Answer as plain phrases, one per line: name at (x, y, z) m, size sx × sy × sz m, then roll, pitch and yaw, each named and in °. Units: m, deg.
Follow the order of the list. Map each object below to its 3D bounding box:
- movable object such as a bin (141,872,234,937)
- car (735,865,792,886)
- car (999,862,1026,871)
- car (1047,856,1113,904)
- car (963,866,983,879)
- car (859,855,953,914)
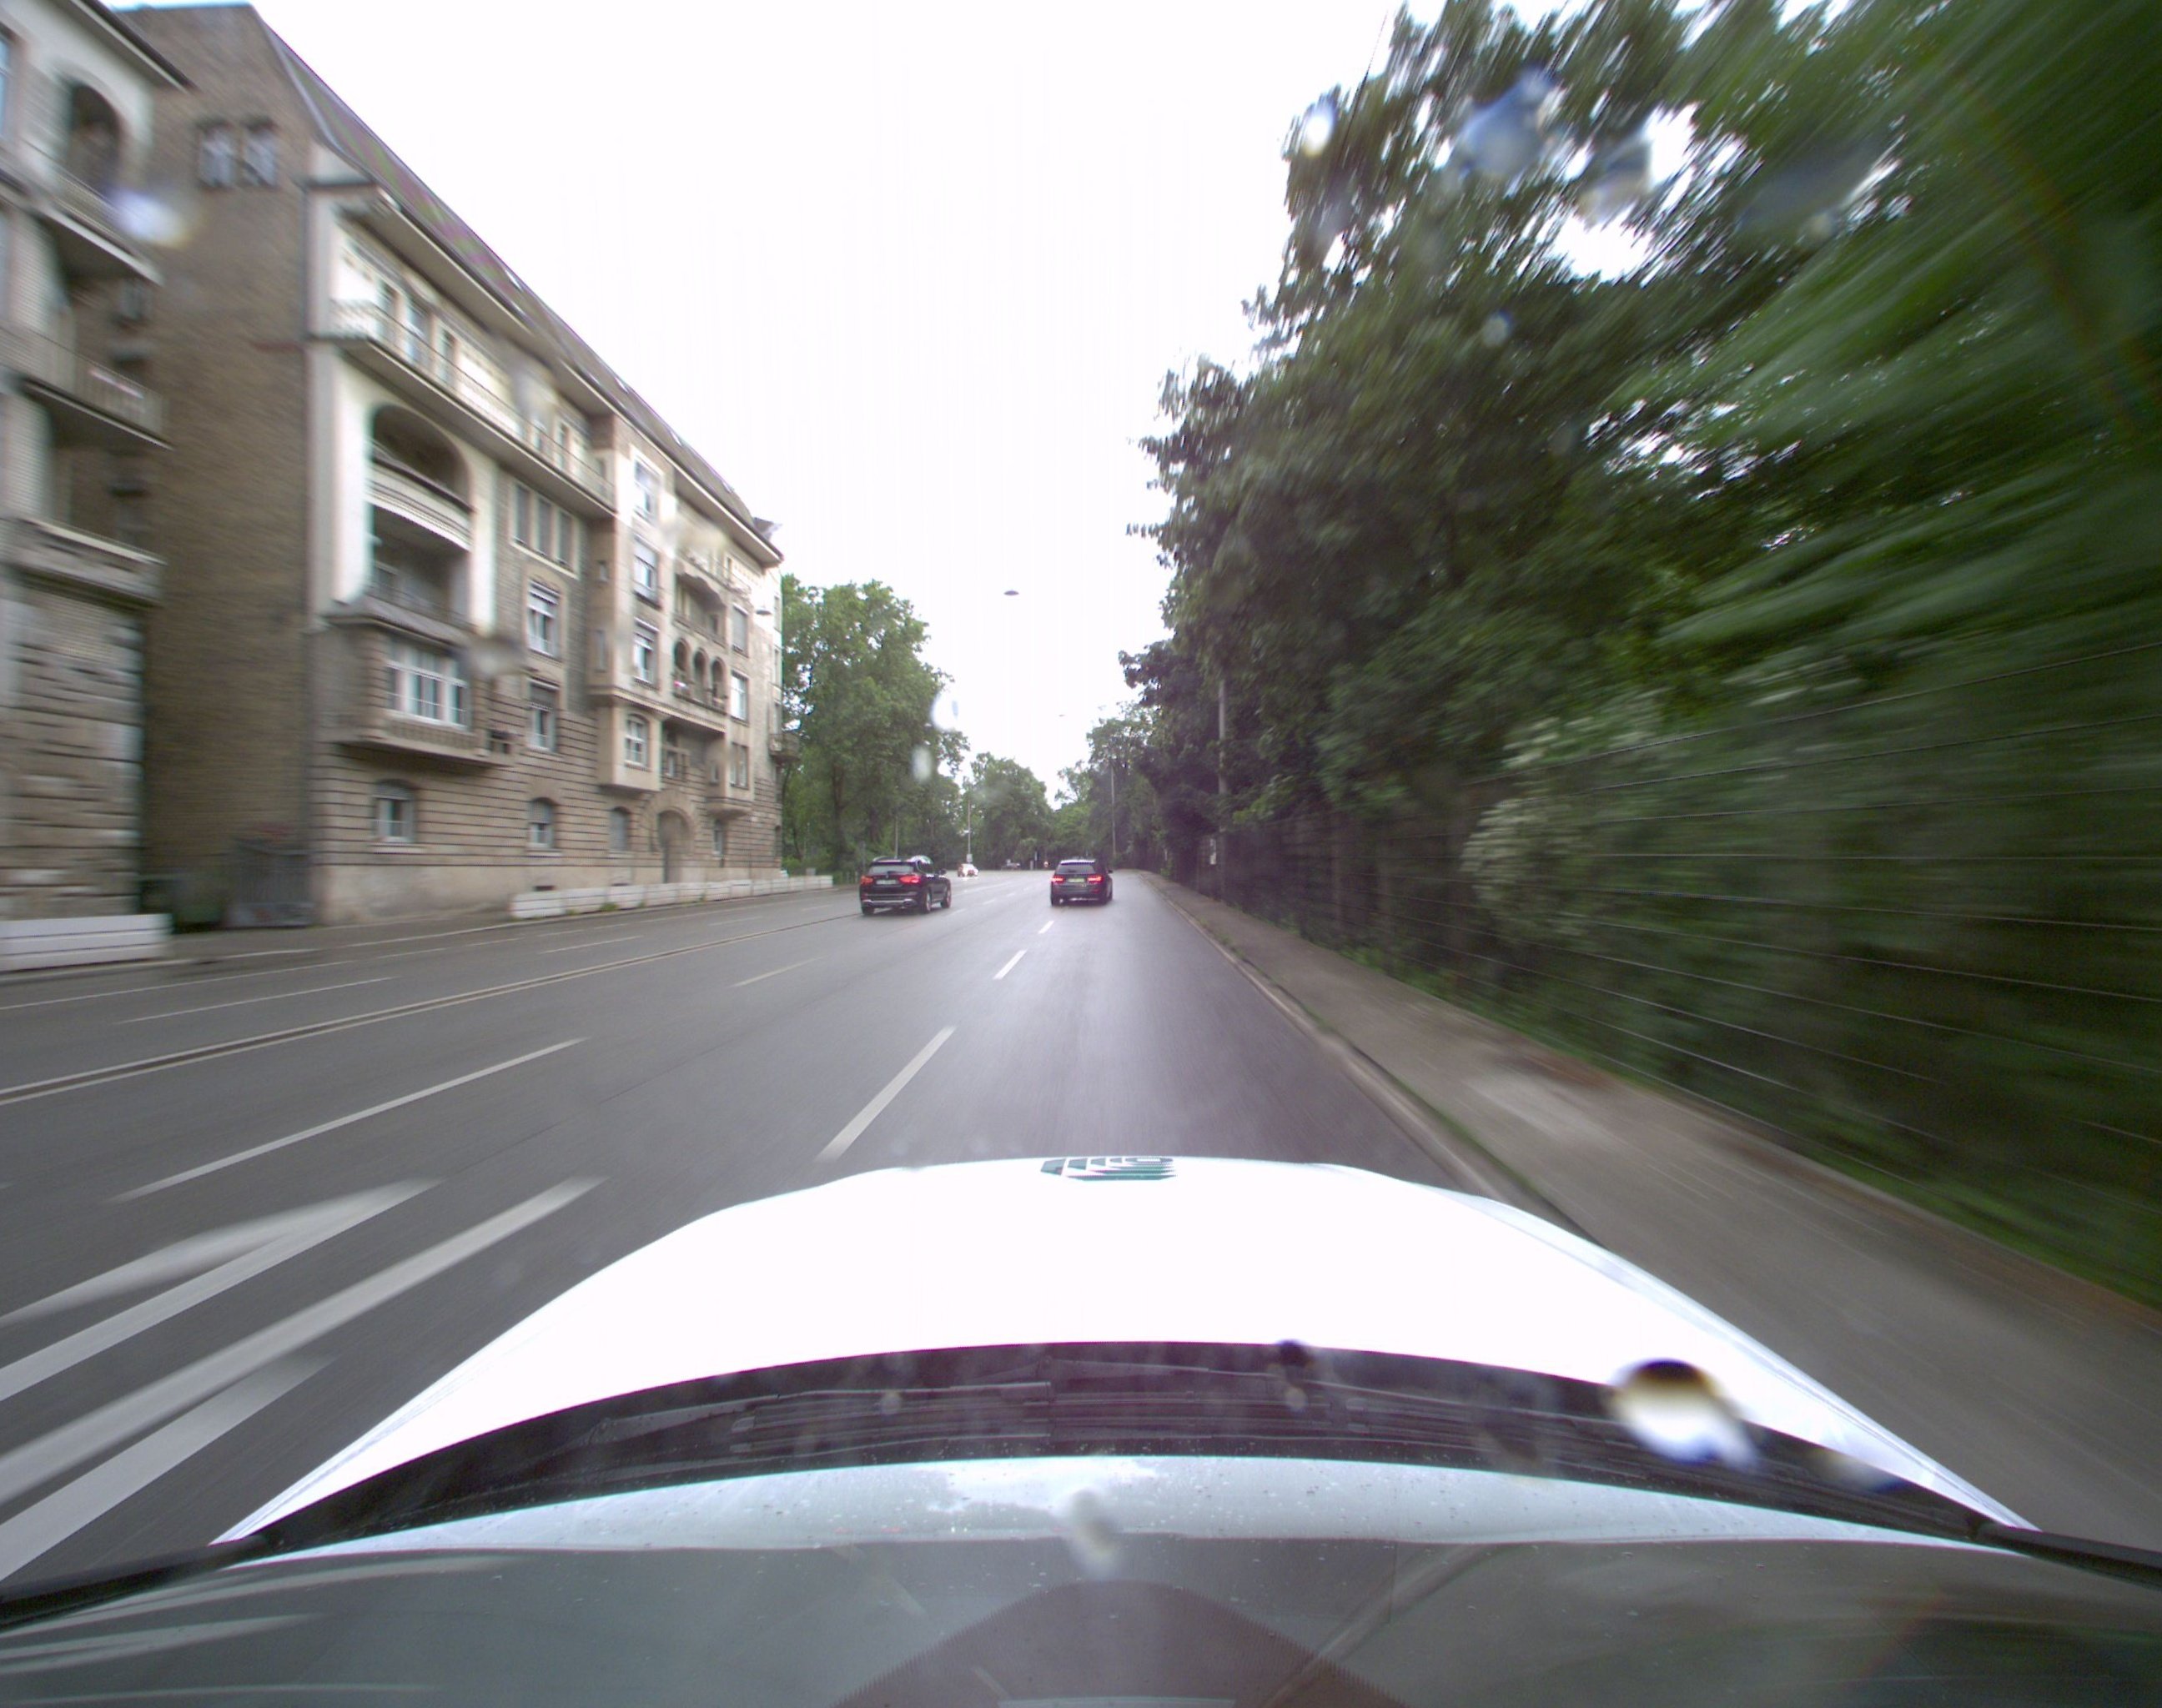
movable object such as a bin at (-21.523, 1.191, 19.644) m, size 1.021 × 1.434 × 1.023 m, roll -2°, pitch 2°, yaw 0°
car at (-23.735, 1.607, 60.897) m, size 3.471 × 1.376 × 1.785 m, roll -2°, pitch 0°, yaw 12°
car at (-10.761, 1.949, 127.732) m, size 1.702 × 1.427 × 4.316 m, roll 4°, pitch -4°, yaw -45°
car at (0.053, 0.812, 27.196) m, size 1.749 × 1.432 × 4.419 m, roll -1°, pitch -1°, yaw 5°
car at (-12.296, 2.099, 93.157) m, size 1.573 × 1.414 × 3.964 m, roll -2°, pitch 0°, yaw 2°
car at (-5.075, 0.827, 24.226) m, size 1.751 × 1.586 × 4.413 m, roll 0°, pitch 0°, yaw 1°
